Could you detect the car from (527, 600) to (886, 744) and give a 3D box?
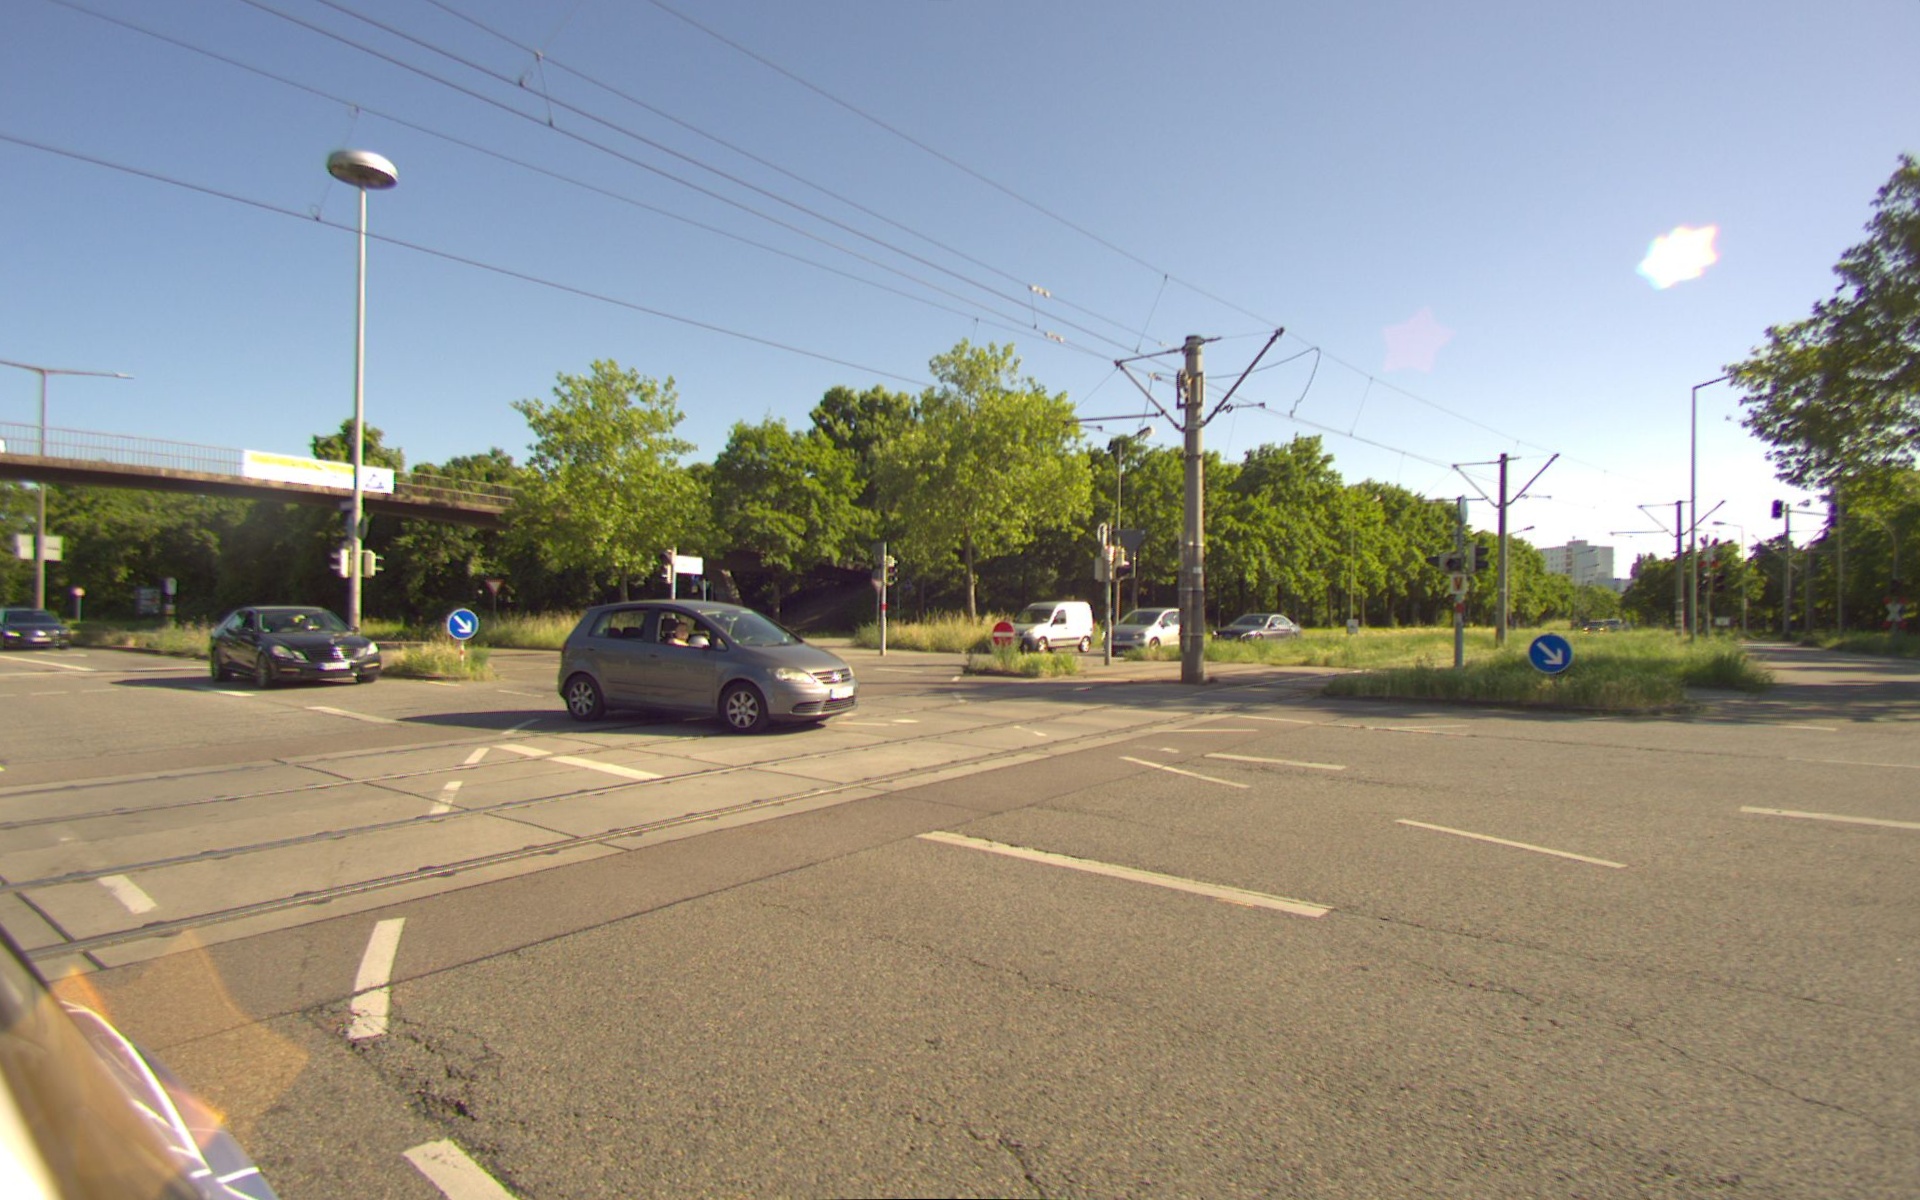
[{"bbox_3d":[-3.300,0.818,13.077,4.364,1.582,1.831,0,-1,27],"label":"car"}]

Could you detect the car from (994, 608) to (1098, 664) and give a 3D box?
[{"bbox_3d":[2.980,1.185,34.537,1.774,1.768,3.951,0,-1,36],"label":"car"}]

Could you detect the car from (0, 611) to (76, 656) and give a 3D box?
[{"bbox_3d":[-32.984,1.177,35.613,3.990,1.507,1.776,-1,-3,33],"label":"car"}]

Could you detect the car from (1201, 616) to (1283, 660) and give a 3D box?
[{"bbox_3d":[10.816,1.411,38.655,1.849,1.572,3.878,0,-1,36],"label":"car"}]

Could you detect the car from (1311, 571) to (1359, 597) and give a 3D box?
[{"bbox_3d":[24.590,-1.037,66.293,1.850,1.572,3.875,0,-1,38],"label":"car"}]

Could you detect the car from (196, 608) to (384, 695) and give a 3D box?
[{"bbox_3d":[-12.994,0.899,19.533,4.524,1.498,1.757,0,-1,39],"label":"car"}]

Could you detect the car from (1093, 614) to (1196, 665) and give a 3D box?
[{"bbox_3d":[6.111,1.239,33.225,1.849,1.572,3.878,0,-1,36],"label":"car"}]
